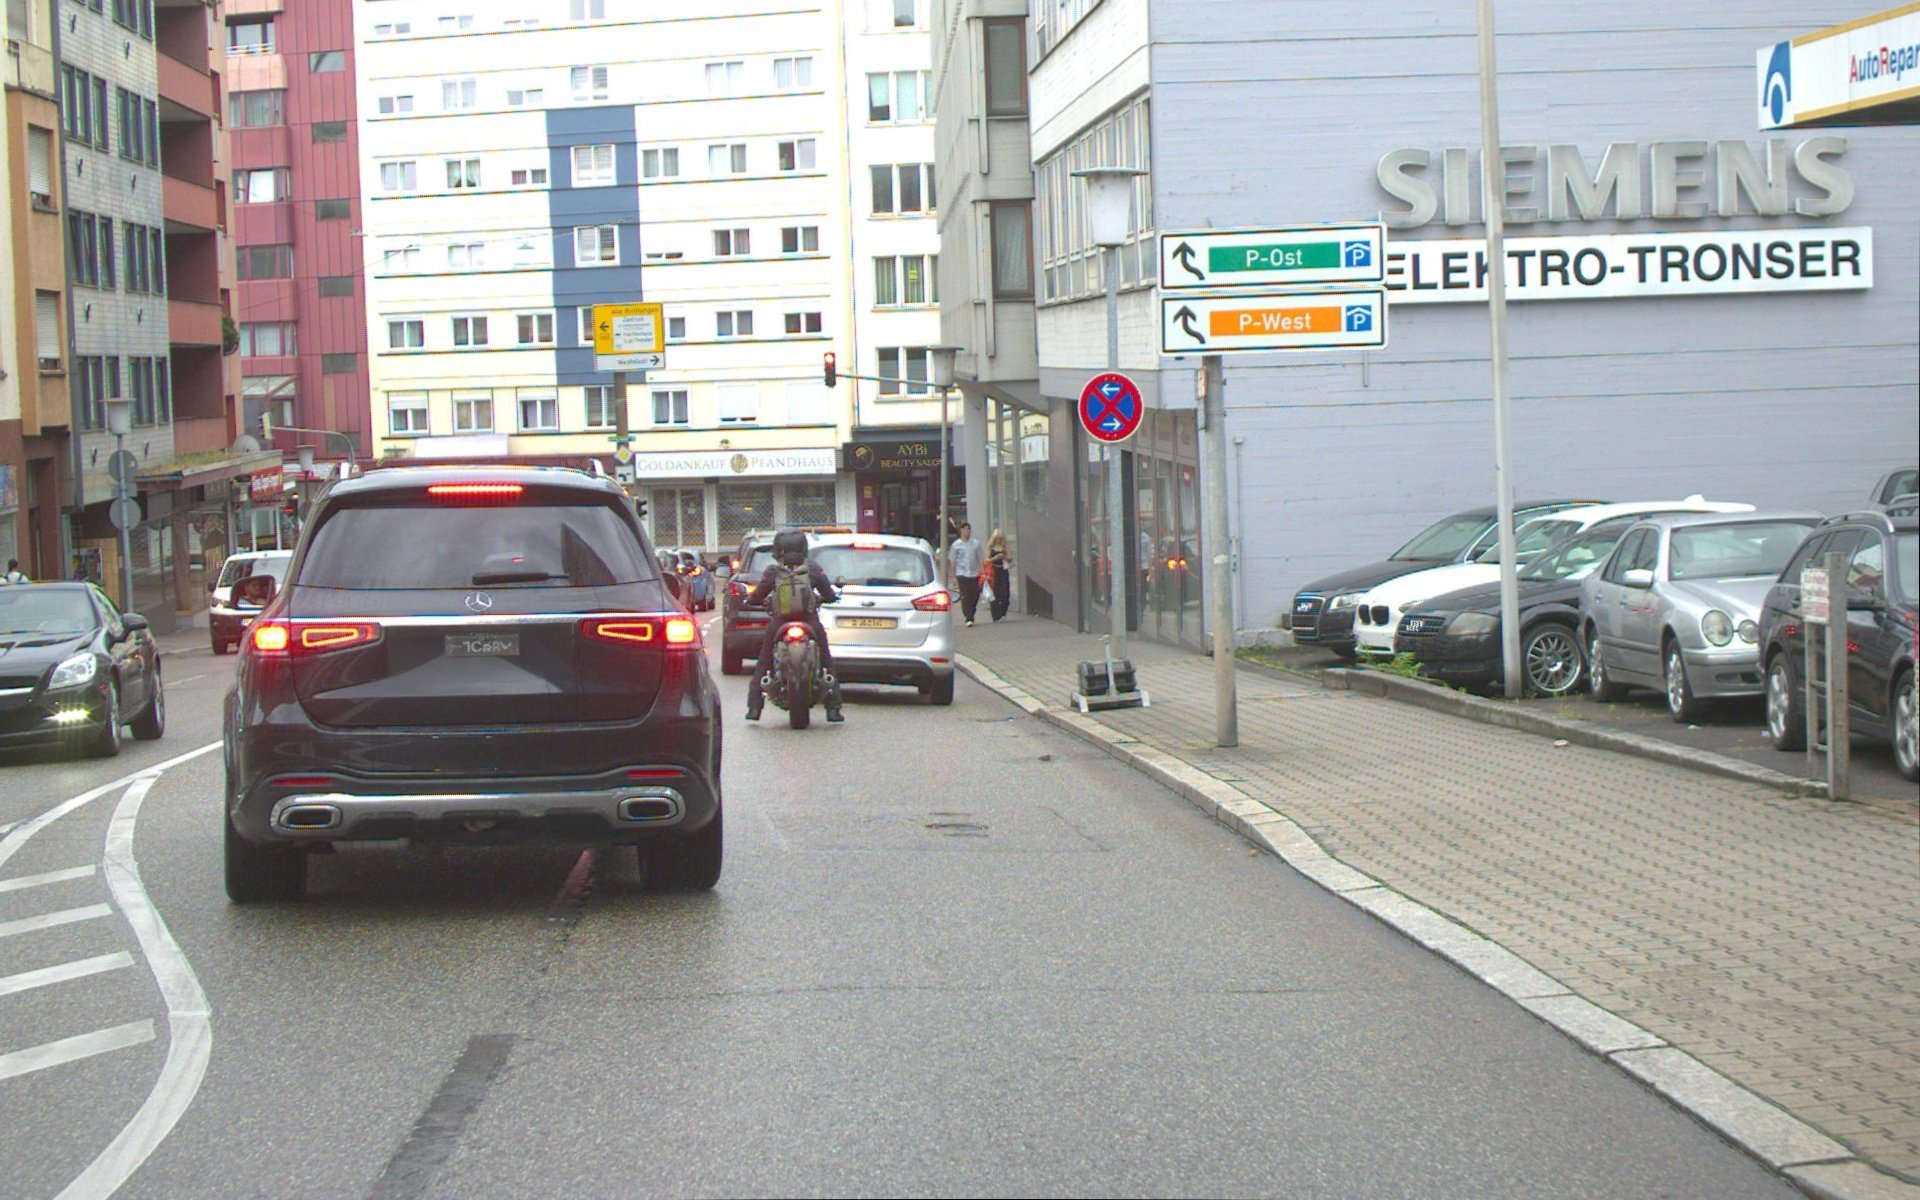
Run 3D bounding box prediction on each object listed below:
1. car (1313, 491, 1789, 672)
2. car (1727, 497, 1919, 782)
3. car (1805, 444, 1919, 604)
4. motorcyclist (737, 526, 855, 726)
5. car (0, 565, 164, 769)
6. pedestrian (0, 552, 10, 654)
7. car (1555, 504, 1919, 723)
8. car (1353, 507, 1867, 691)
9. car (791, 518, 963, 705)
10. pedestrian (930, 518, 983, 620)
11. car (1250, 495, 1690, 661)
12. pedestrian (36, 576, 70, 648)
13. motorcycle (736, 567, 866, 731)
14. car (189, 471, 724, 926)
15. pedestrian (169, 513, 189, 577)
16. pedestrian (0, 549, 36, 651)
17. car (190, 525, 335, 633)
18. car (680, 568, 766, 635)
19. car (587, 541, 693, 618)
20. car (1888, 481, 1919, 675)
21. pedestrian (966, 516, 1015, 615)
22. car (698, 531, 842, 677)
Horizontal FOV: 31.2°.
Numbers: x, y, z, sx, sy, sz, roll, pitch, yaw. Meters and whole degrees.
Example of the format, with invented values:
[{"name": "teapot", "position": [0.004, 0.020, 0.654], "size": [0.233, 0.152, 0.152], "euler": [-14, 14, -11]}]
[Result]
[{"name": "car", "position": [5.470, -0.166, 31.863], "size": [3.986, 1.592, 1.800], "euler": [0, 0, -21]}, {"name": "car", "position": [5.816, 0.162, 19.565], "size": [1.796, 1.472, 4.485], "euler": [0, 1, -1]}, {"name": "car", "position": [10.201, -0.758, 35.293], "size": [1.644, 1.592, 3.868], "euler": [0, 0, -8]}, {"name": "motorcyclist", "position": [-1.316, 0.203, 27.501], "size": [0.866, 1.555, 0.764], "euler": [-1, 0, -6]}, {"name": "car", "position": [-6.998, 0.452, 25.536], "size": [1.714, 1.313, 4.145], "euler": [-2, 2, -8]}, {"name": "pedestrian", "position": [-16.201, 0.053, 56.960], "size": [0.739, 1.646, 0.606], "euler": [-1, 5, -6]}, {"name": "car", "position": [5.596, 0.043, 25.205], "size": [1.565, 1.472, 4.070], "euler": [0, 1, -3]}, {"name": "car", "position": [5.541, -0.015, 29.332], "size": [3.986, 1.489, 1.733], "euler": [0, 0, -21]}, {"name": "car", "position": [-0.828, 0.068, 32.805], "size": [1.415, 1.645, 3.108], "euler": [-1, 2, -5]}, {"name": "pedestrian", "position": [-0.065, -0.515, 55.951], "size": [0.769, 1.606, 0.704], "euler": [-1, 3, -6]}, {"name": "car", "position": [5.102, -0.213, 34.433], "size": [3.986, 1.592, 1.800], "euler": [0, 0, -21]}, {"name": "pedestrian", "position": [-15.296, 0.203, 57.998], "size": [0.425, 1.158, 0.587], "euler": [-1, 5, -6]}, {"name": "motorcycle", "position": [-1.293, 0.362, 27.459], "size": [0.867, 1.182, 2.562], "euler": [-1, 2, -6]}, {"name": "car", "position": [-2.133, 0.333, 15.533], "size": [2.020, 1.733, 4.748], "euler": [0, 1, -5]}, {"name": "pedestrian", "position": [-18.208, -1.279, 80.144], "size": [0.318, 1.469, 0.339], "euler": [-1, 5, 2]}, {"name": "pedestrian", "position": [-15.941, -0.002, 57.761], "size": [0.671, 1.646, 0.606], "euler": [-1, 5, -6]}, {"name": "car", "position": [-12.428, -0.409, 61.496], "size": [1.869, 1.747, 4.400], "euler": [-4, 2, -4]}, {"name": "car", "position": [-5.633, 0.012, 82.111], "size": [1.885, 1.497, 4.400], "euler": [0, 1, -2]}, {"name": "car", "position": [-6.464, -0.437, 69.837], "size": [1.885, 1.497, 4.400], "euler": [0, 1, -2]}, {"name": "car", "position": [8.235, -0.173, 25.922], "size": [1.527, 1.507, 3.392], "euler": [0, 0, 0]}, {"name": "pedestrian", "position": [0.508, -0.573, 56.743], "size": [0.717, 1.606, 0.611], "euler": [-1, 3, -6]}, {"name": "car", "position": [-2.208, 0.013, 39.356], "size": [1.522, 1.543, 3.108], "euler": [-1, 2, -5]}]
